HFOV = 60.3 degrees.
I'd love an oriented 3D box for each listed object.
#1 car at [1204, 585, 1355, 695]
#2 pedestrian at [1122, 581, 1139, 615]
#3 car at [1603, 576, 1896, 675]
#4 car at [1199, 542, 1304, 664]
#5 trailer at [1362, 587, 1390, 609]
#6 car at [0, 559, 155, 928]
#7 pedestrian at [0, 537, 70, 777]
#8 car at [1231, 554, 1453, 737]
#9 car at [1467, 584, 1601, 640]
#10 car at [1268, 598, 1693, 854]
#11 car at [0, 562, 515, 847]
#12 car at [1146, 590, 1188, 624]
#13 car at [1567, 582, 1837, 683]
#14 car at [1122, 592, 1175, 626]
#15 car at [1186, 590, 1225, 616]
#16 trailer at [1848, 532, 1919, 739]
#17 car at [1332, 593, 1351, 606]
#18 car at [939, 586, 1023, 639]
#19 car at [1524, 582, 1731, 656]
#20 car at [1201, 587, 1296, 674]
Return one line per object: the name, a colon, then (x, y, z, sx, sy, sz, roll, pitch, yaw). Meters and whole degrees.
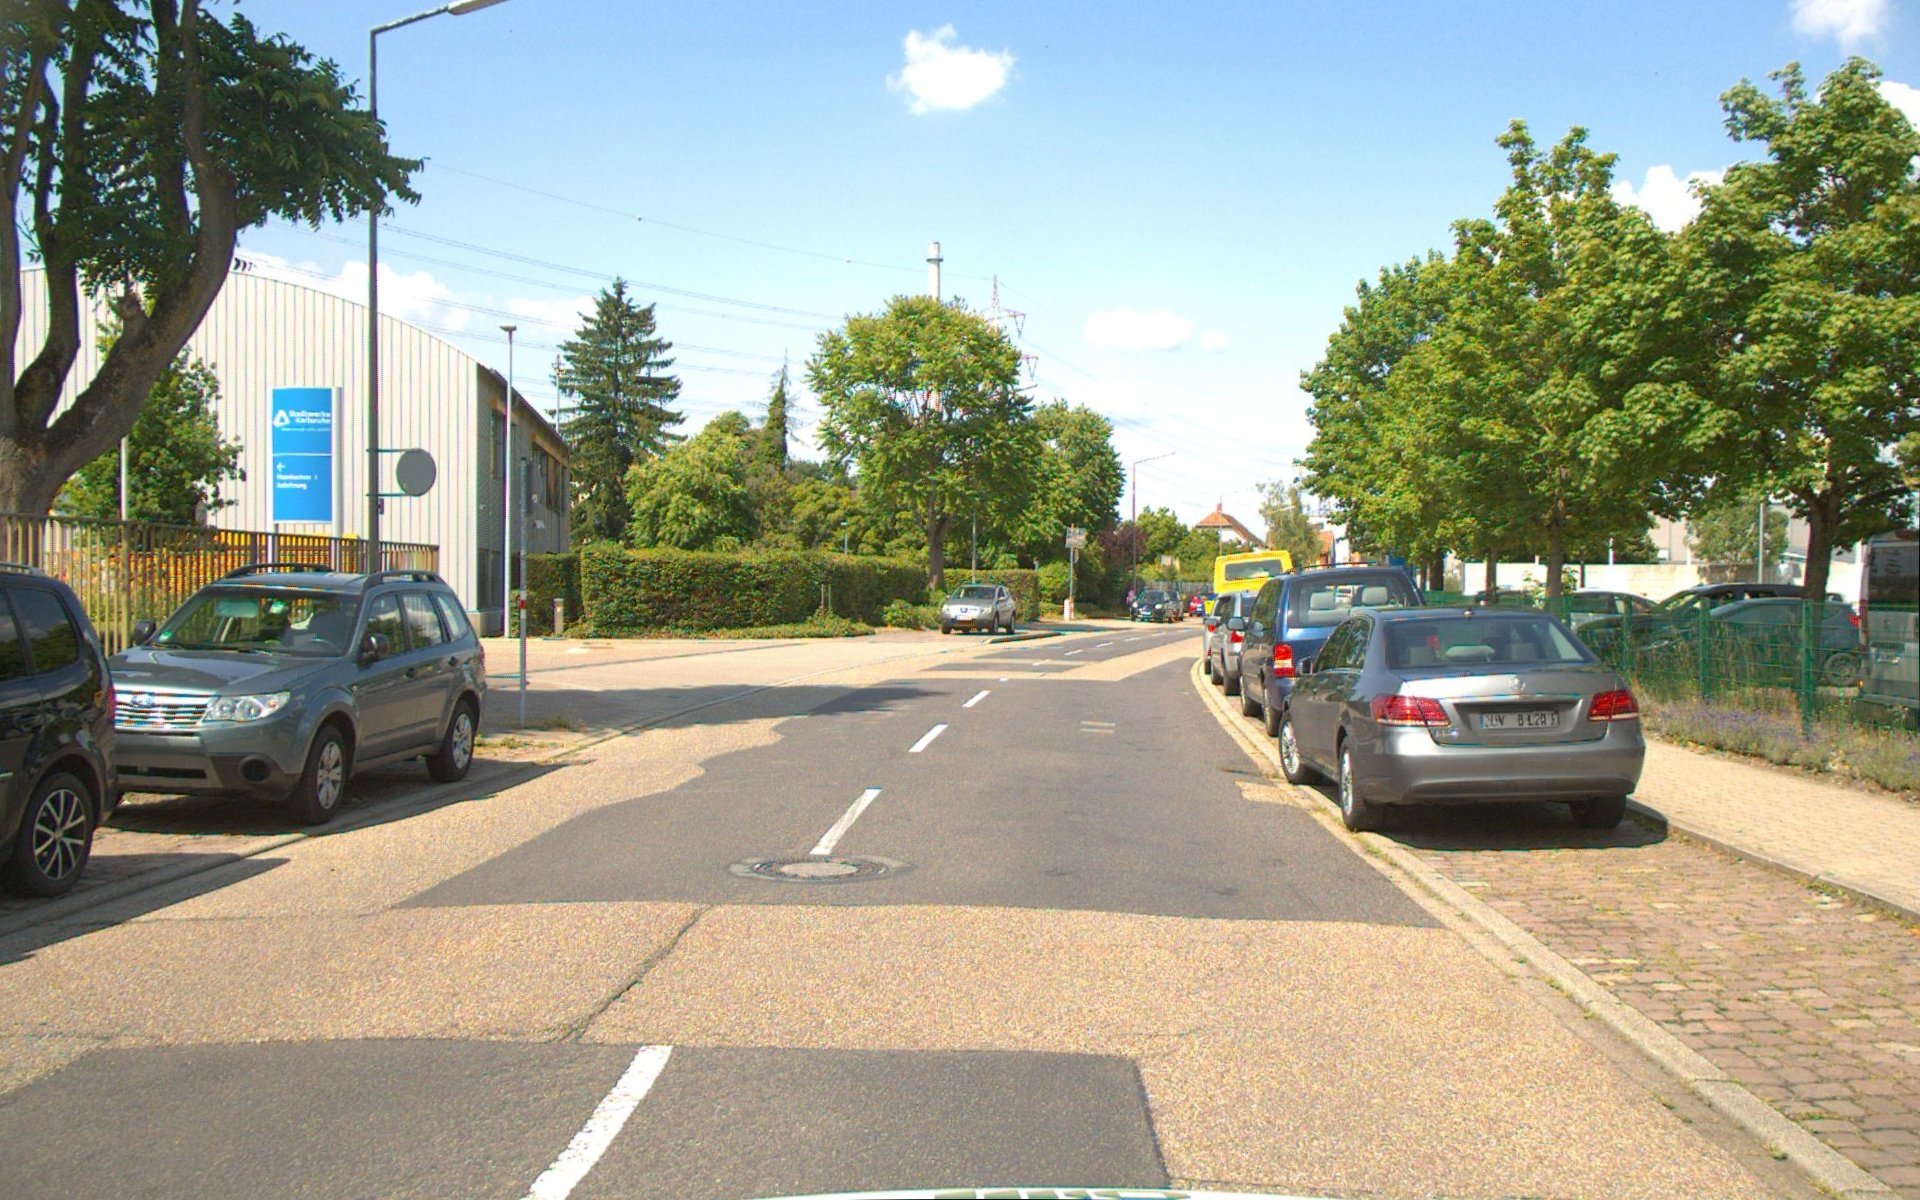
car: (4.882, 0.567, 25.839, 1.794, 1.518, 4.659, -1, 0, 5)
pedestrian: (9.184, -0.121, 89.102, 0.693, 1.832, 0.916, 0, -1, 17)
car: (13.559, 0.424, 28.581, 4.234, 1.522, 1.630, 2, 0, 5)
car: (6.704, 0.081, 37.658, 2.111, 2.508, 6.645, -1, 0, 11)
trailer: (29.409, -0.114, 117.023, 1.711, 1.442, 4.553, -3, -1, 12)
car: (-5.327, 0.643, 6.855, 1.738, 1.712, 4.231, 2, 0, 2)
pedestrian: (-7.513, 0.415, 12.683, 0.810, 1.792, 0.846, 2, 0, 9)
car: (4.292, 0.467, 19.342, 1.811, 1.796, 5.080, -2, 0, 5)
car: (17.472, 0.378, 50.489, 3.793, 1.666, 1.911, 0, -1, 18)
car: (3.577, 0.756, 12.378, 1.803, 1.486, 4.870, -2, 0, 3)
car: (-4.946, 0.623, 12.363, 1.761, 1.679, 4.691, 1, 0, 2)
car: (10.829, 0.348, 86.440, 1.616, 1.674, 3.276, 3, 1, 15)
car: (13.853, 0.586, 31.080, 4.234, 1.700, 1.858, 2, 0, 5)
car: (9.262, 0.434, 81.213, 1.806, 1.534, 4.002, 3, 1, 17)
car: (14.542, 0.185, 97.767, 1.631, 1.492, 3.745, 2, 0, 18)
trailer: (12.302, 0.363, 17.268, 4.941, 2.119, 2.062, 0, 0, 3)
car: (45.788, -0.060, 198.626, 1.759, 1.422, 4.503, 2, 0, 19)
car: (0.735, 0.392, 53.406, 1.720, 1.601, 4.481, 1, 0, 14)
car: (15.773, 0.447, 39.255, 4.225, 1.649, 1.764, -1, 0, 6)
car: (5.526, 0.554, 31.694, 1.649, 1.521, 3.952, -1, 0, 10)
